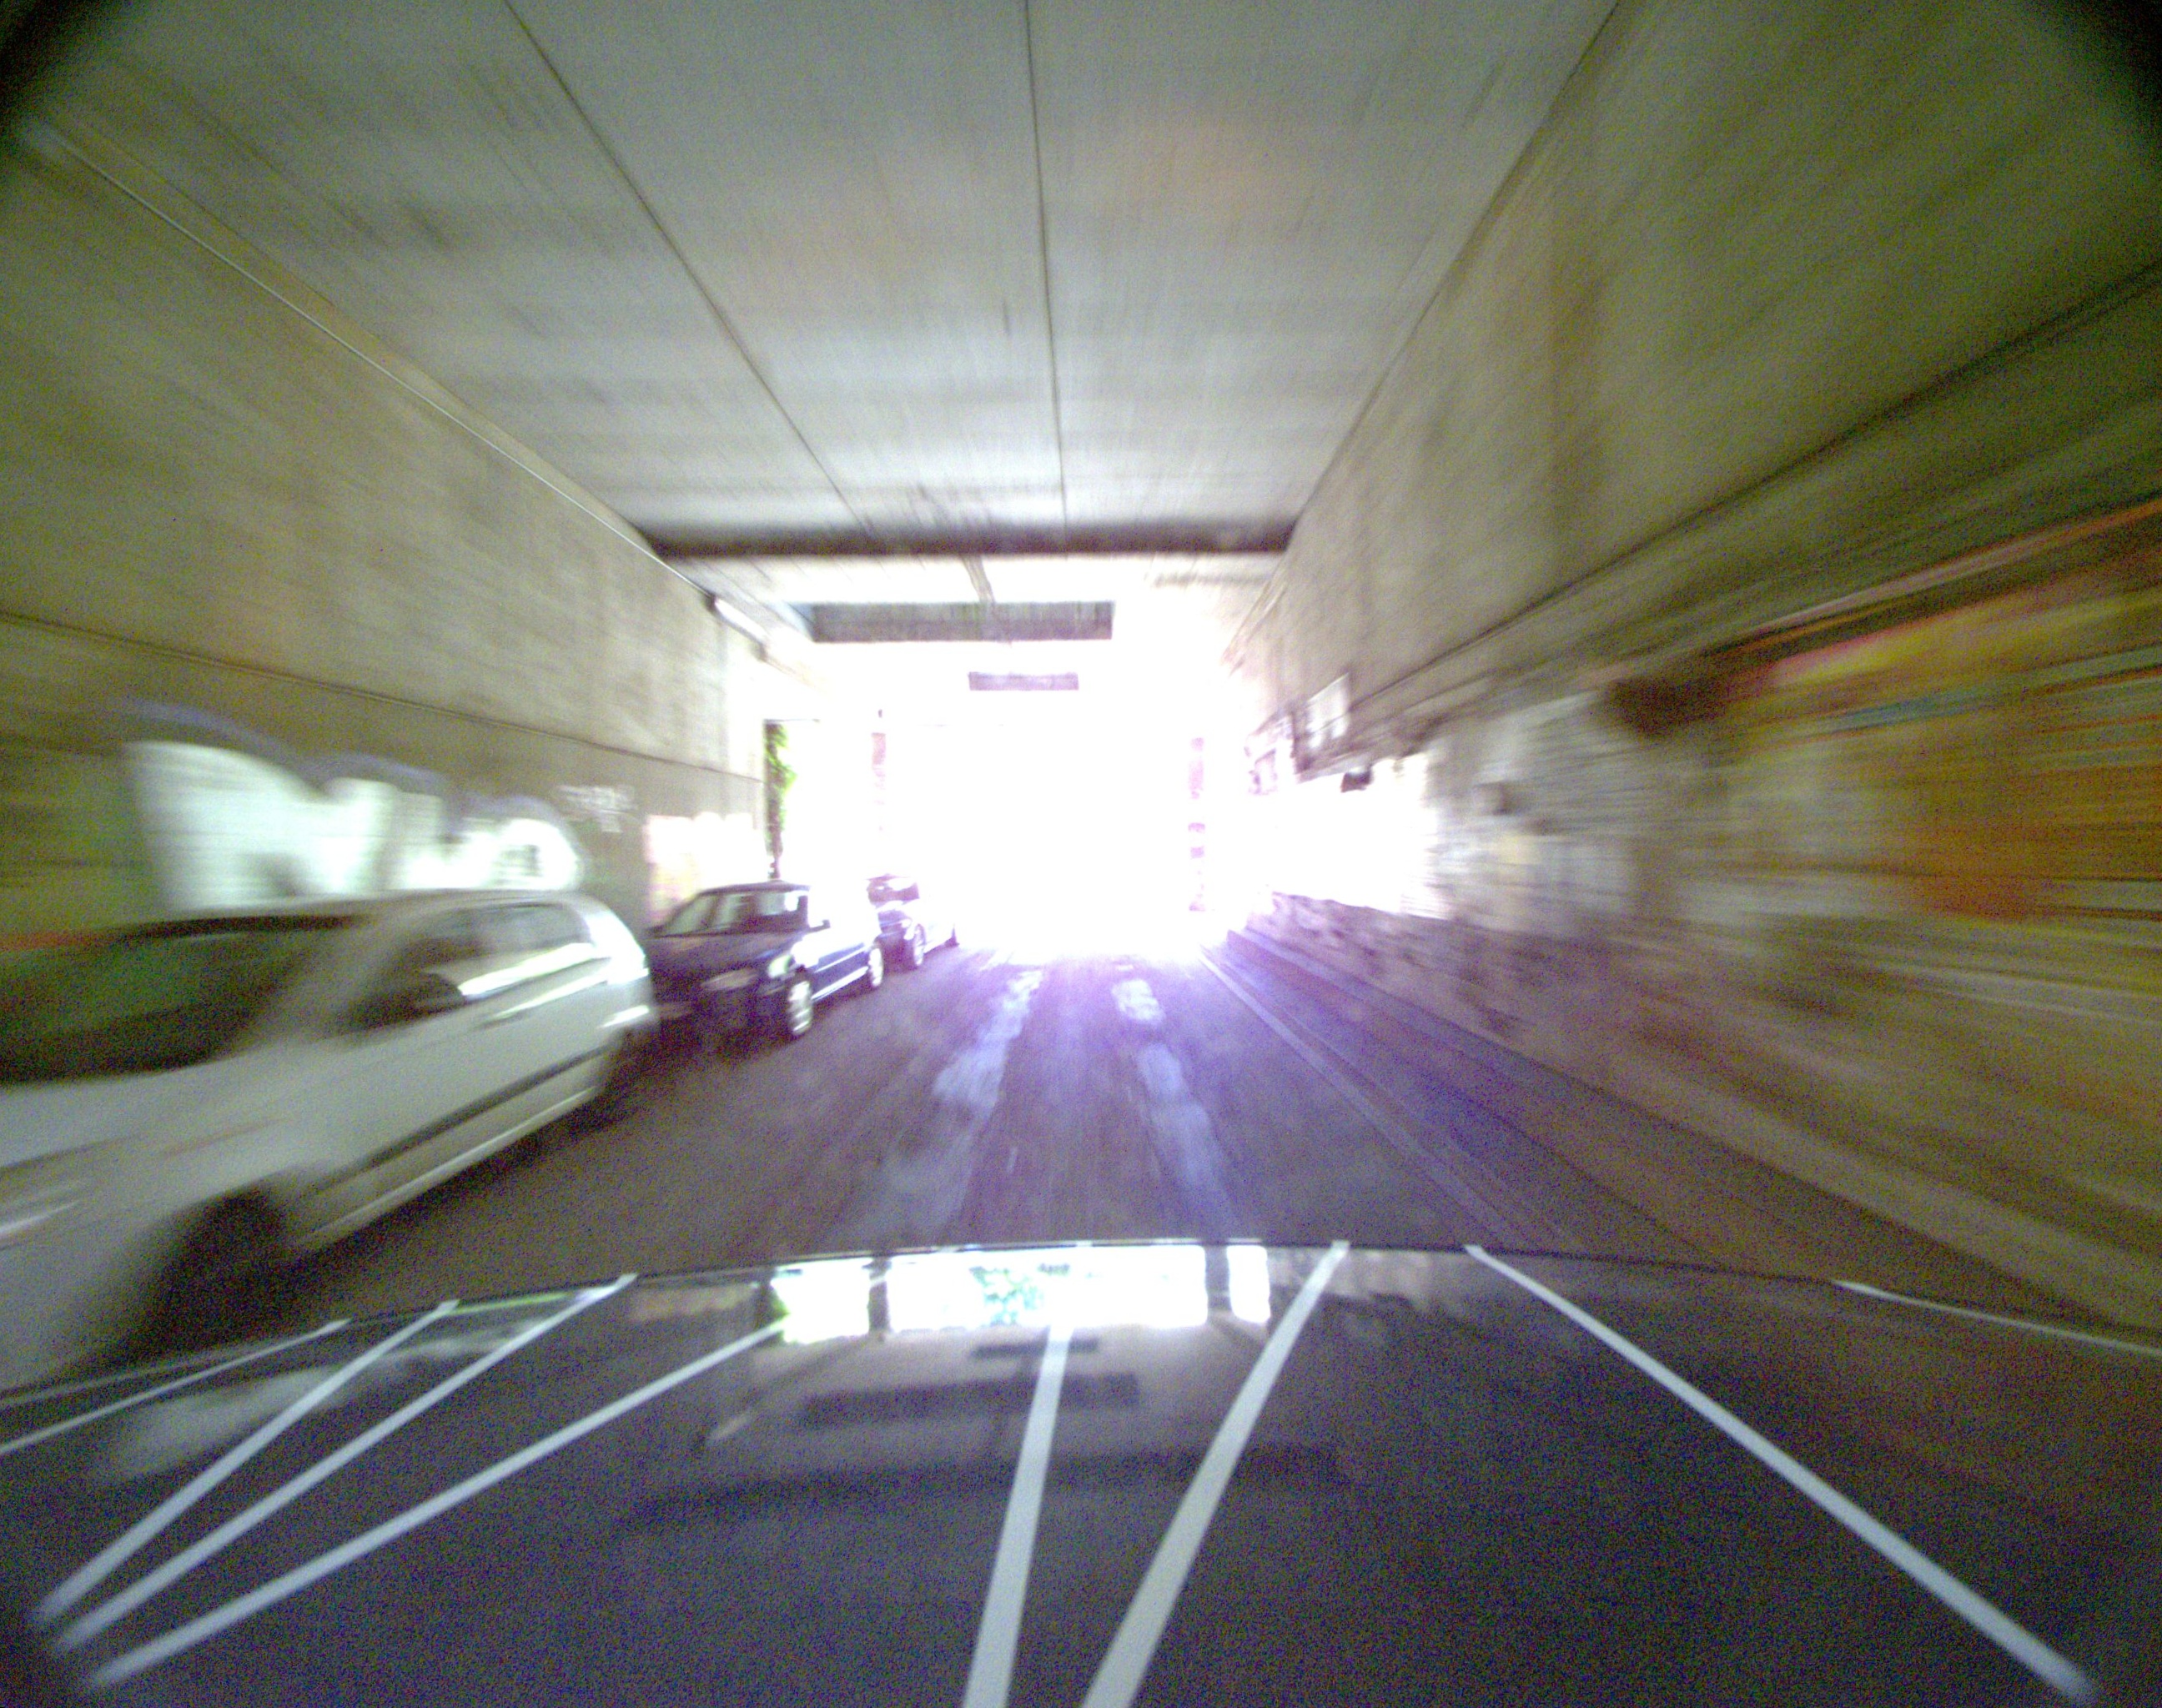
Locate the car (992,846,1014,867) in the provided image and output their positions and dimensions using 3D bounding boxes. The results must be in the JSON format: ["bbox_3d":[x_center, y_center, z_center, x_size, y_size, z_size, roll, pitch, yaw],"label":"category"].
[{"bbox_3d":[-8.026,0.288,77.761,1.997,2.017,4.300,-1,-1,-9],"label":"car"}]

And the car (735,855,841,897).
[{"bbox_3d":[-11.663,0.851,30.405,3.529,1.510,1.724,-1,2,-2],"label":"car"}]

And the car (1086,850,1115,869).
[{"bbox_3d":[1.537,0.392,61.031,1.692,1.454,3.996,-1,1,-8],"label":"car"}]

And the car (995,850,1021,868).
[{"bbox_3d":[-6.172,0.444,63.849,1.779,1.432,3.997,2,-1,-10],"label":"car"}]

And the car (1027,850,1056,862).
[{"bbox_3d":[-5.701,0.241,108.766,4.000,1.576,1.817,-1,-2,-9],"label":"car"}]

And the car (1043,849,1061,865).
[{"bbox_3d":[-3.639,0.380,93.931,1.777,1.871,3.997,-1,0,-7],"label":"car"}]

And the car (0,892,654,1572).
[{"bbox_3d":[-3.570,1.030,3.219,1.608,1.479,3.636,-1,1,-4],"label":"car"}]

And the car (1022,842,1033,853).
[{"bbox_3d":[-9.825,-1.173,139.670,1.777,1.871,3.997,-1,1,-7],"label":"car"}]

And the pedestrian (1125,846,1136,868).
[{"bbox_3d":[3.634,0.204,55.947,0.632,1.567,0.532,0,1,25],"label":"pedestrian"}]

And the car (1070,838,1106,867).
[{"bbox_3d":[0.548,-0.166,66.573,2.221,2.437,5.089,-1,1,-11],"label":"car"}]

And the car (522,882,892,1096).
[{"bbox_3d":[-3.350,1.101,7.820,1.766,1.402,4.062,-1,1,0],"label":"car"}]

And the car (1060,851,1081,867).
[{"bbox_3d":[-1.089,0.467,78.357,1.695,1.548,3.818,-1,1,-9],"label":"car"}]

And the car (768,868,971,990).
[{"bbox_3d":[-3.220,1.072,12.662,1.856,1.424,4.607,-3,1,3],"label":"car"}]

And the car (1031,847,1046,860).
[{"bbox_3d":[-6.349,-0.128,113.307,1.777,1.871,3.997,-1,1,-7],"label":"car"}]

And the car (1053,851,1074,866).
[{"bbox_3d":[-1.920,0.449,82.950,1.786,1.548,3.818,-1,1,-9],"label":"car"}]

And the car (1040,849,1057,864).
[{"bbox_3d":[-4.325,0.342,100.128,1.777,1.871,3.997,-1,1,-7],"label":"car"}]
